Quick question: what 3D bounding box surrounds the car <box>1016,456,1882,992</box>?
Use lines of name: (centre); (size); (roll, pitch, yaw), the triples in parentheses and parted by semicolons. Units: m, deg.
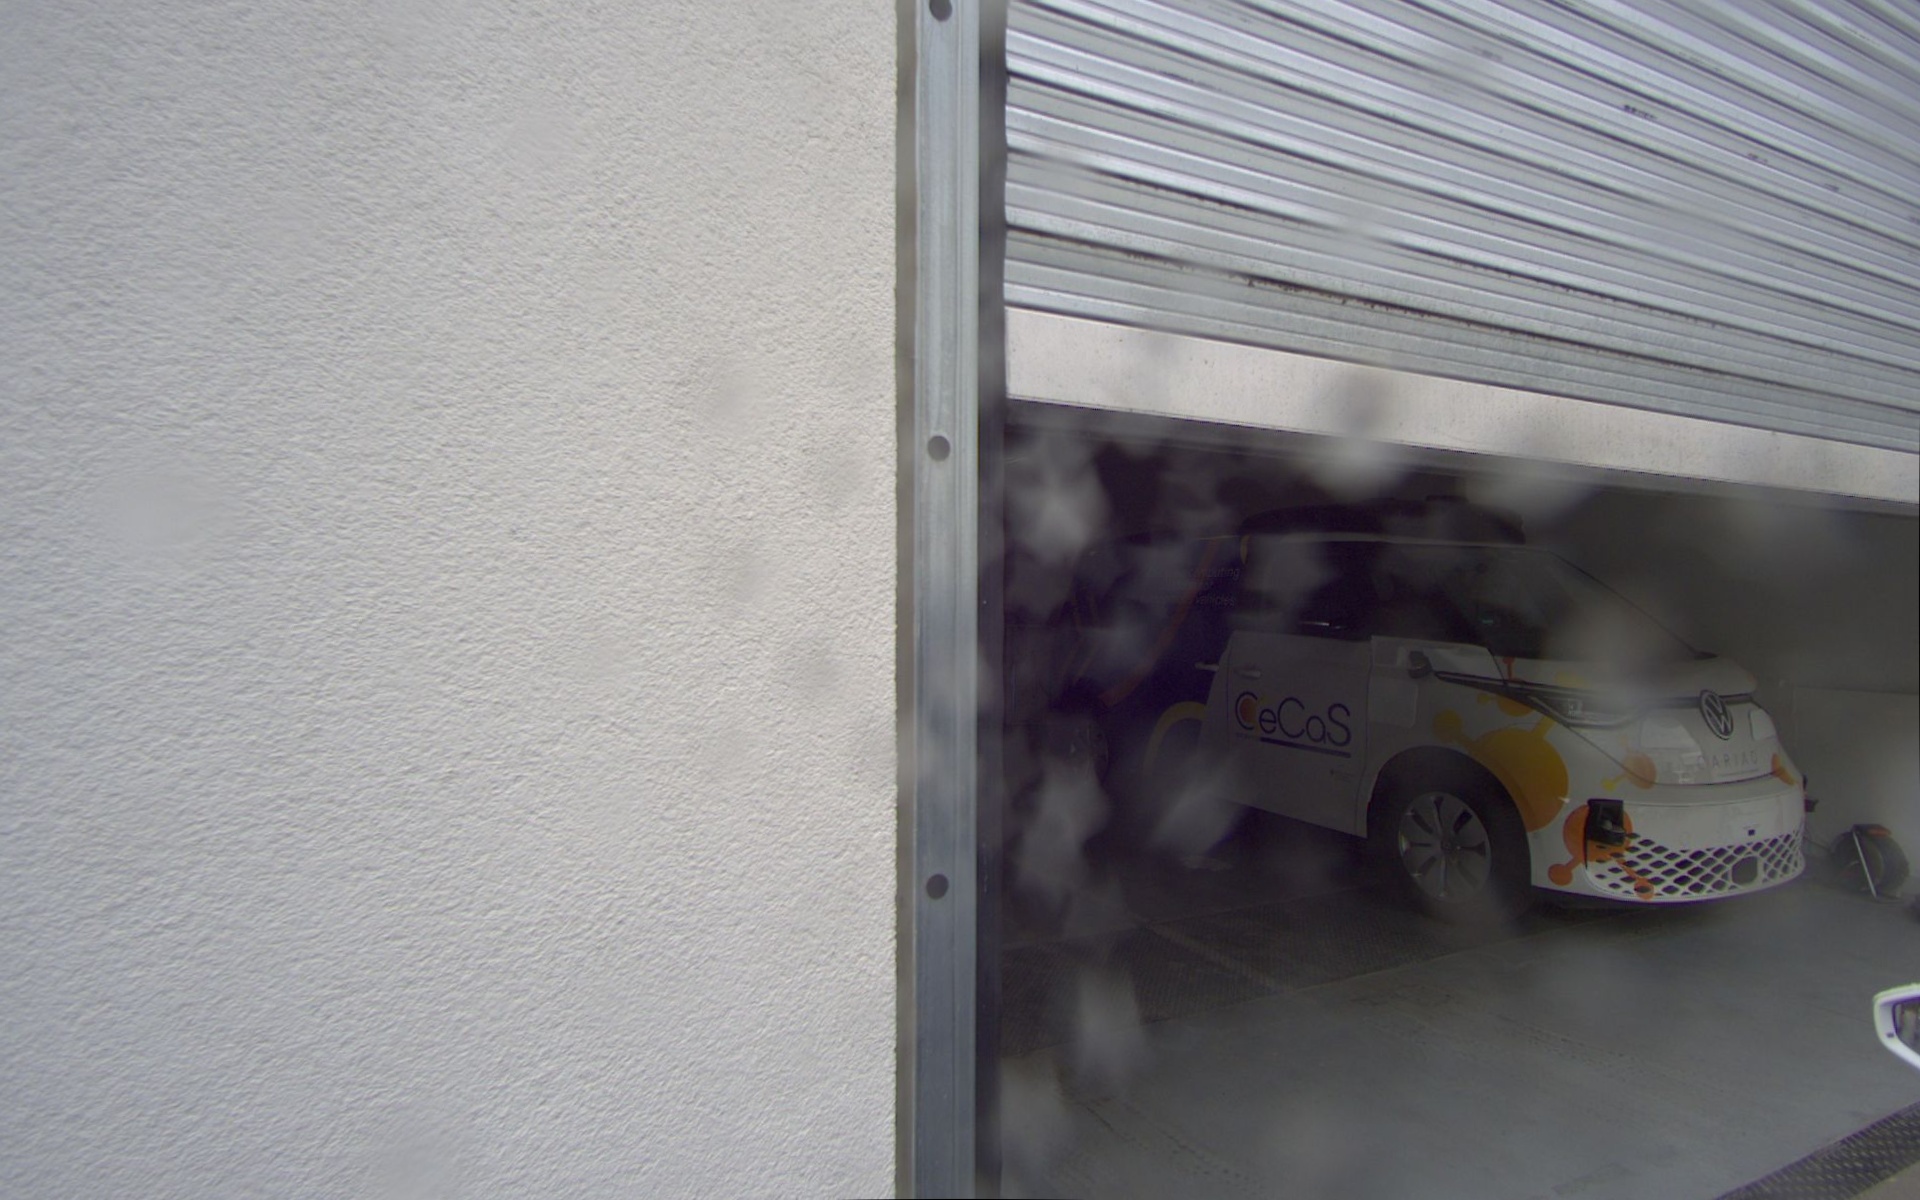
car: (2.403, 0.450, 6.384); (2.057, 2.041, 4.673); (0, 1, -26)
